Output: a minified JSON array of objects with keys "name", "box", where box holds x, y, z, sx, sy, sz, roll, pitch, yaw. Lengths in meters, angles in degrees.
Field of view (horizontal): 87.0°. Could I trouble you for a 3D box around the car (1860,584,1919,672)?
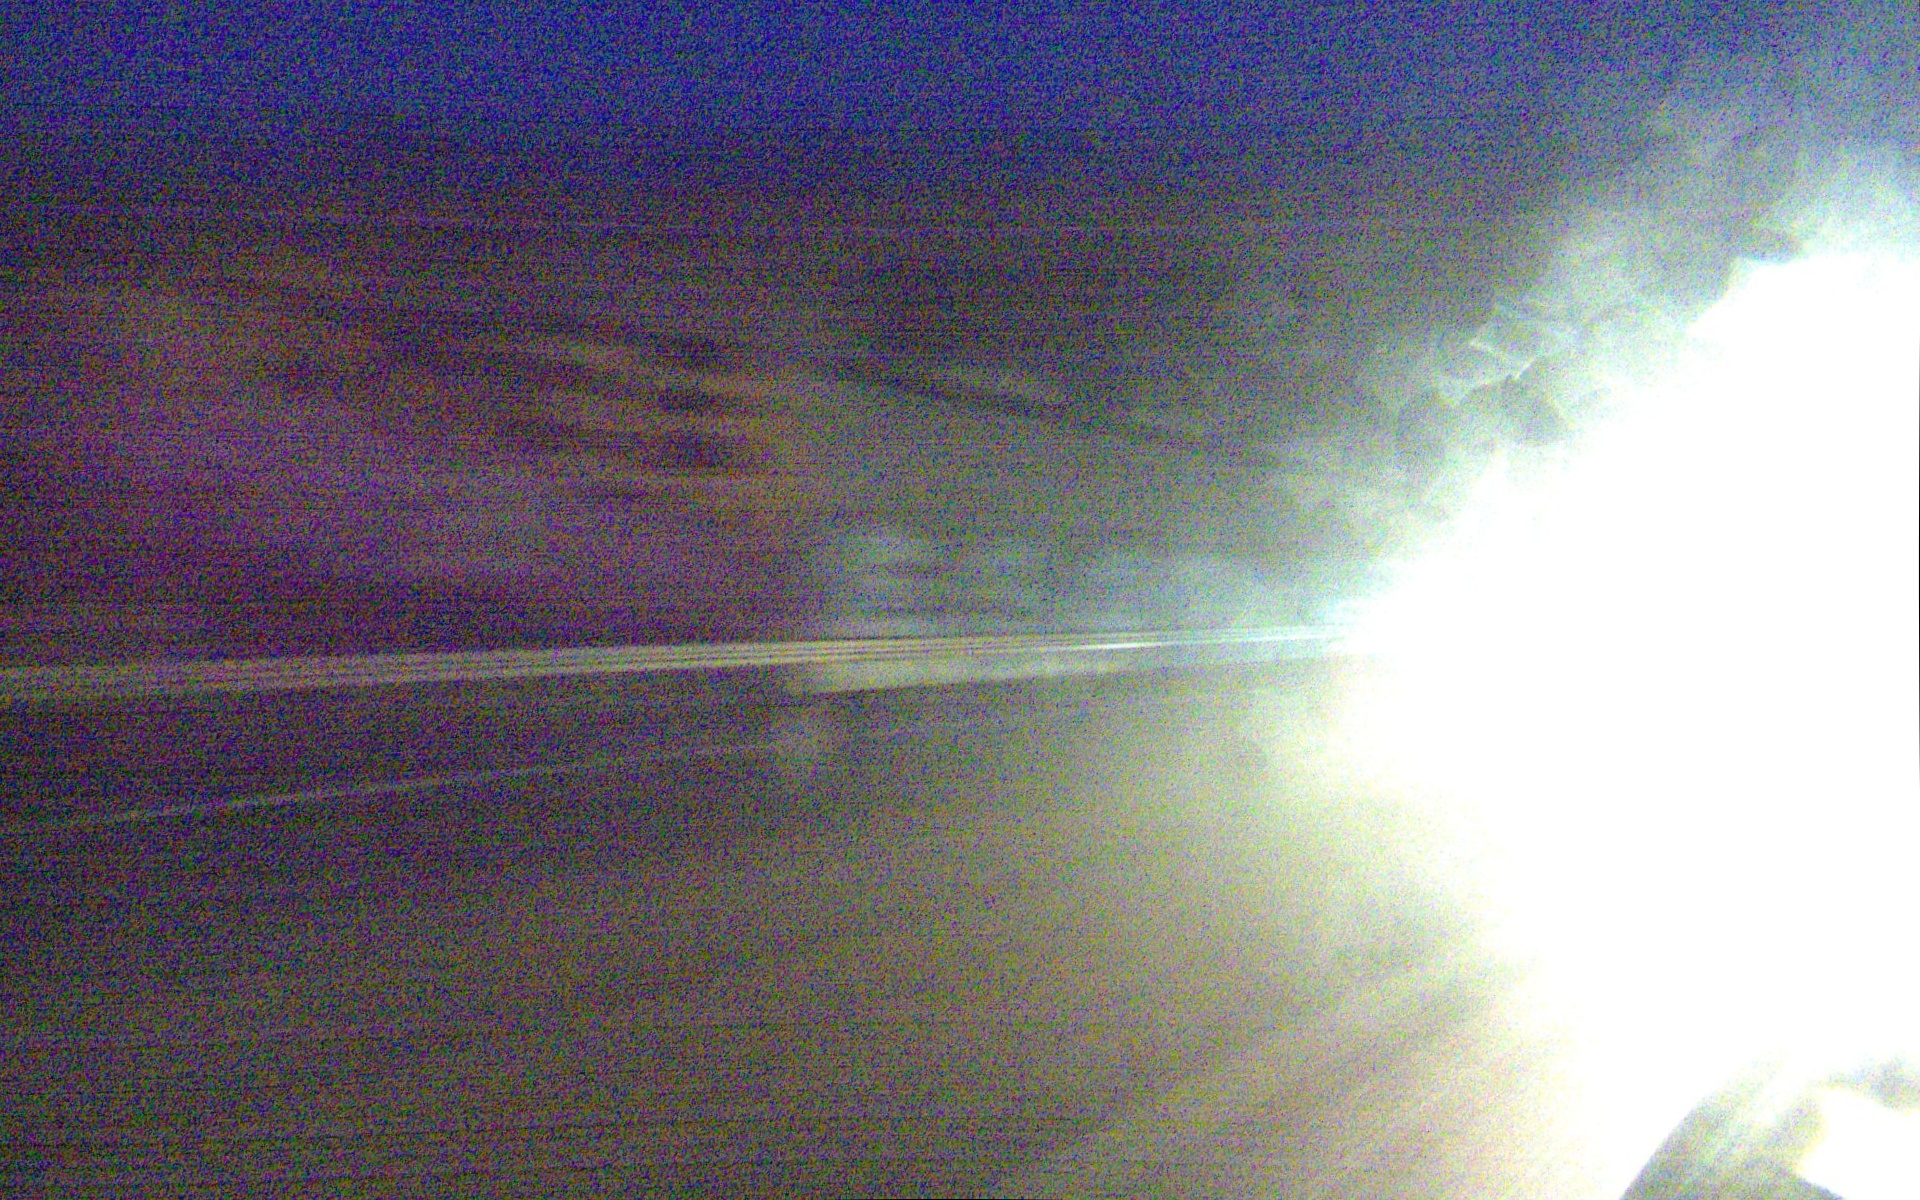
[{"name":"car","box":[19.574,0.502,20.261,4.183,1.638,1.803,-1,0,-41]}]
